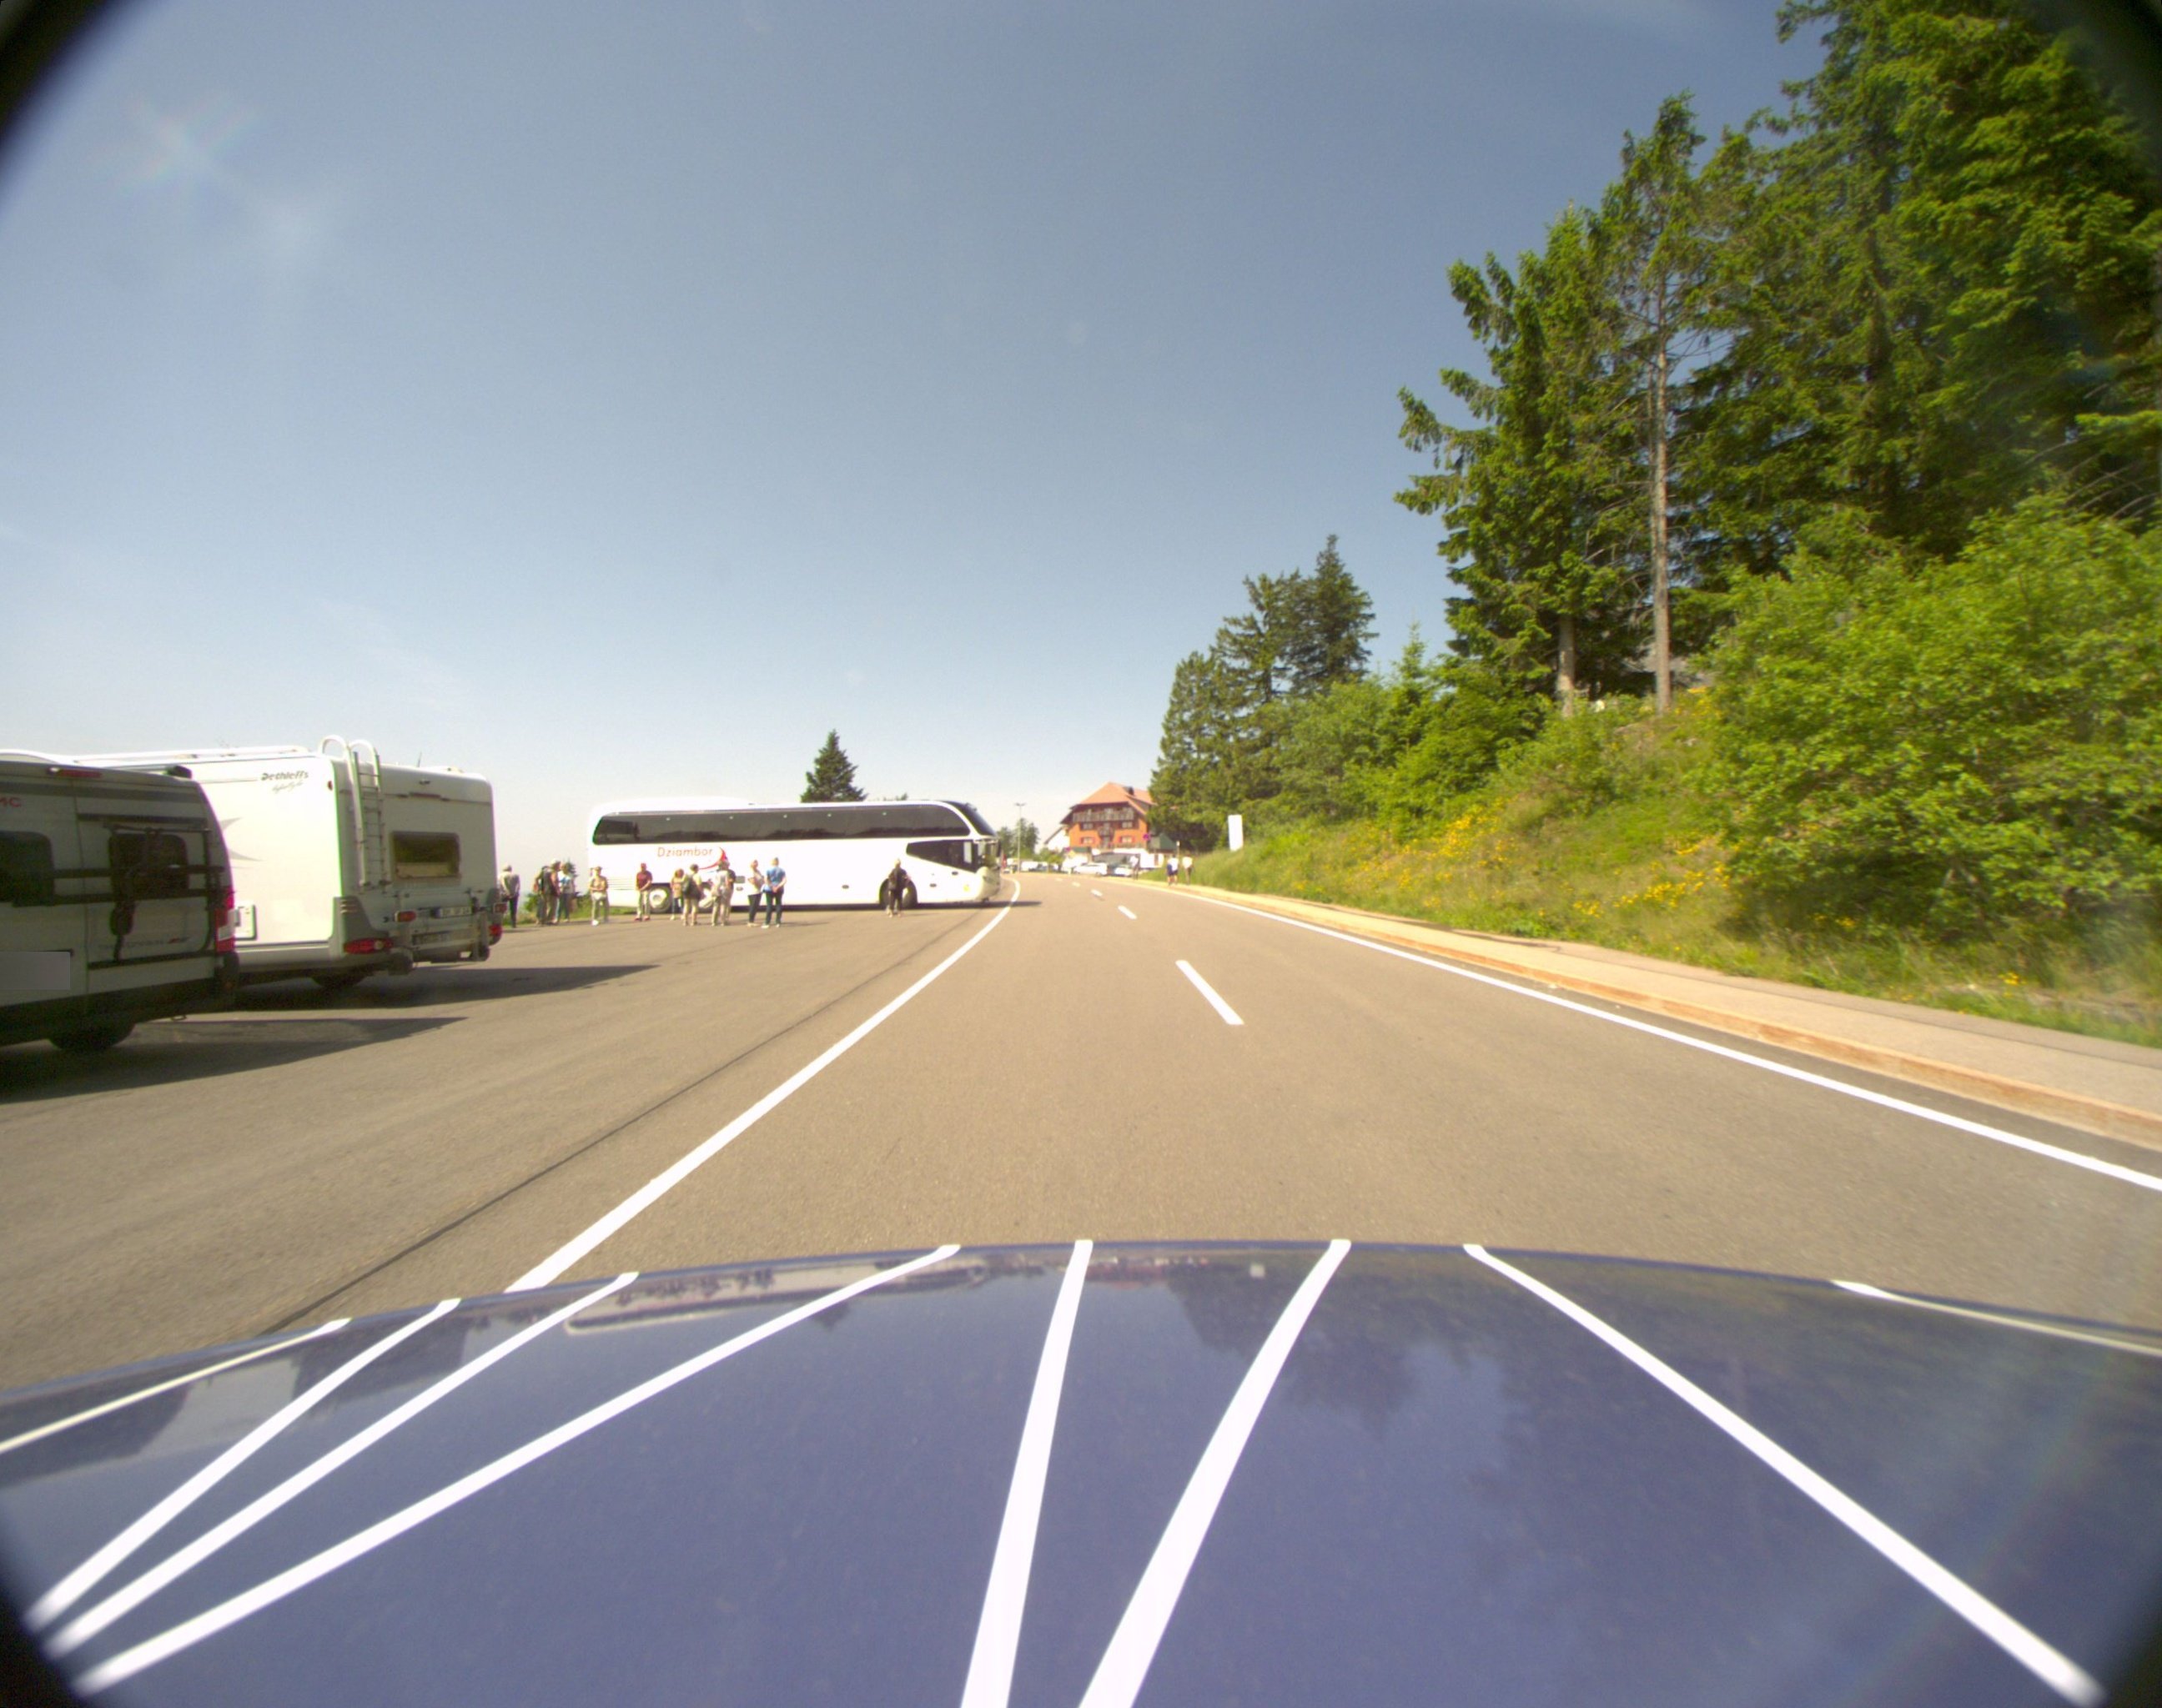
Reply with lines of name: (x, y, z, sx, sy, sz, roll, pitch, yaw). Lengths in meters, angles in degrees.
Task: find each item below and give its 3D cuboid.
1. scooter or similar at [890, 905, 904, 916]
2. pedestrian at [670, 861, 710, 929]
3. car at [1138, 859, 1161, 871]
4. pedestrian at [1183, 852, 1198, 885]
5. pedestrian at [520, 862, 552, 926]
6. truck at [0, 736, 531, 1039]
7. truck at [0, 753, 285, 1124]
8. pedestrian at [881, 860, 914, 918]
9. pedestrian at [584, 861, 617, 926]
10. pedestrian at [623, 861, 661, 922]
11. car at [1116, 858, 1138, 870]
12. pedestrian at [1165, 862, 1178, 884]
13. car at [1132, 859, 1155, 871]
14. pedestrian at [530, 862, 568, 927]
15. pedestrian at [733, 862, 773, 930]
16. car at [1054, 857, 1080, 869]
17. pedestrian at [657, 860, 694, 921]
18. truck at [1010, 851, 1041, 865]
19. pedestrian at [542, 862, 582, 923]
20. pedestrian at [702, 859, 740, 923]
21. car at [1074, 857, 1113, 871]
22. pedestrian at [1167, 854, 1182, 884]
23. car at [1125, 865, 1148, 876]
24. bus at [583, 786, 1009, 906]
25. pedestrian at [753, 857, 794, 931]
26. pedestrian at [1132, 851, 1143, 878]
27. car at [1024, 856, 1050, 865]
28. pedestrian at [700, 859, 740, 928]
scooter or similar: (-5.267, 1.620, 21.774, 0.285, 0.309, 0.327, -1, 0, 10)
pedestrian: (-9.897, 1.015, 19.248, 0.631, 1.687, 0.629, -1, 1, 15)
car: (8.508, 1.331, 94.123, 1.714, 1.425, 3.322, 0, -1, 29)
pedestrian: (5.611, 0.736, 38.934, 0.577, 1.633, 0.894, 0, 0, -2)
pedestrian: (-14.727, 1.068, 20.533, 0.467, 1.687, 0.485, -1, 1, 15)
truck: (-10.885, 0.381, 9.478, 6.079, 3.177, 2.532, -2, 1, 0)
truck: (-10.601, 0.620, 6.046, 6.275, 2.575, 2.341, -1, 0, 3)
pedestrian: (-5.066, 0.961, 21.008, 0.631, 1.558, 0.629, -1, 1, 15)
pedestrian: (-12.849, 1.047, 20.312, 0.633, 1.687, 0.626, -1, 1, -40)
pedestrian: (-12.339, 1.040, 21.382, 0.631, 1.687, 0.629, -1, 1, 15)
car: (6.255, 1.324, 103.255, 1.710, 1.543, 3.141, 0, 0, 31)
pedestrian: (4.466, 0.934, 37.556, 0.570, 1.095, 0.744, 0, 0, -2)
car: (7.971, 1.392, 97.053, 1.636, 1.425, 3.323, 0, -2, 29)
pedestrian: (-14.094, 1.061, 20.143, 0.631, 1.687, 0.509, -1, 1, 15)
pedestrian: (-8.107, 1.019, 18.789, 0.630, 1.641, 0.629, -1, 1, 25)
car: (-2.039, 1.258, 107.806, 3.325, 1.583, 1.720, 0, 0, 35)
pedestrian: (-11.464, 1.030, 21.496, 0.631, 1.687, 0.629, -1, 1, 15)
truck: (-11.920, 0.851, 163.997, 2.863, 2.813, 8.776, 0, 0, 24)
pedestrian: (-14.533, 1.065, 21.270, 0.631, 1.687, 0.629, -1, 1, 15)
pedestrian: (-9.582, 0.973, 20.211, 0.631, 1.669, 0.629, -1, 1, 15)
car: (1.422, 1.110, 85.421, 3.953, 1.578, 1.793, 0, 0, 28)
pedestrian: (4.778, 0.745, 38.861, 0.582, 1.528, 0.879, 0, 0, -5)
car: (7.364, 2.174, 100.427, 1.727, 1.456, 3.527, 0, 0, 28)
bus: (-8.963, -0.216, 24.784, 12.876, 3.556, 2.839, -1, 0, 3)
pedestrian: (-7.441, 0.952, 18.384, 0.631, 1.747, 0.629, -1, 1, 15)
pedestrian: (3.698, 0.698, 49.737, 0.581, 1.731, 0.686, 0, 0, -12)
car: (-8.991, 1.311, 156.447, 5.253, 1.894, 1.999, 0, 0, -4)
pedestrian: (-9.063, 0.978, 19.090, 0.631, 1.688, 0.629, -1, 1, 15)
